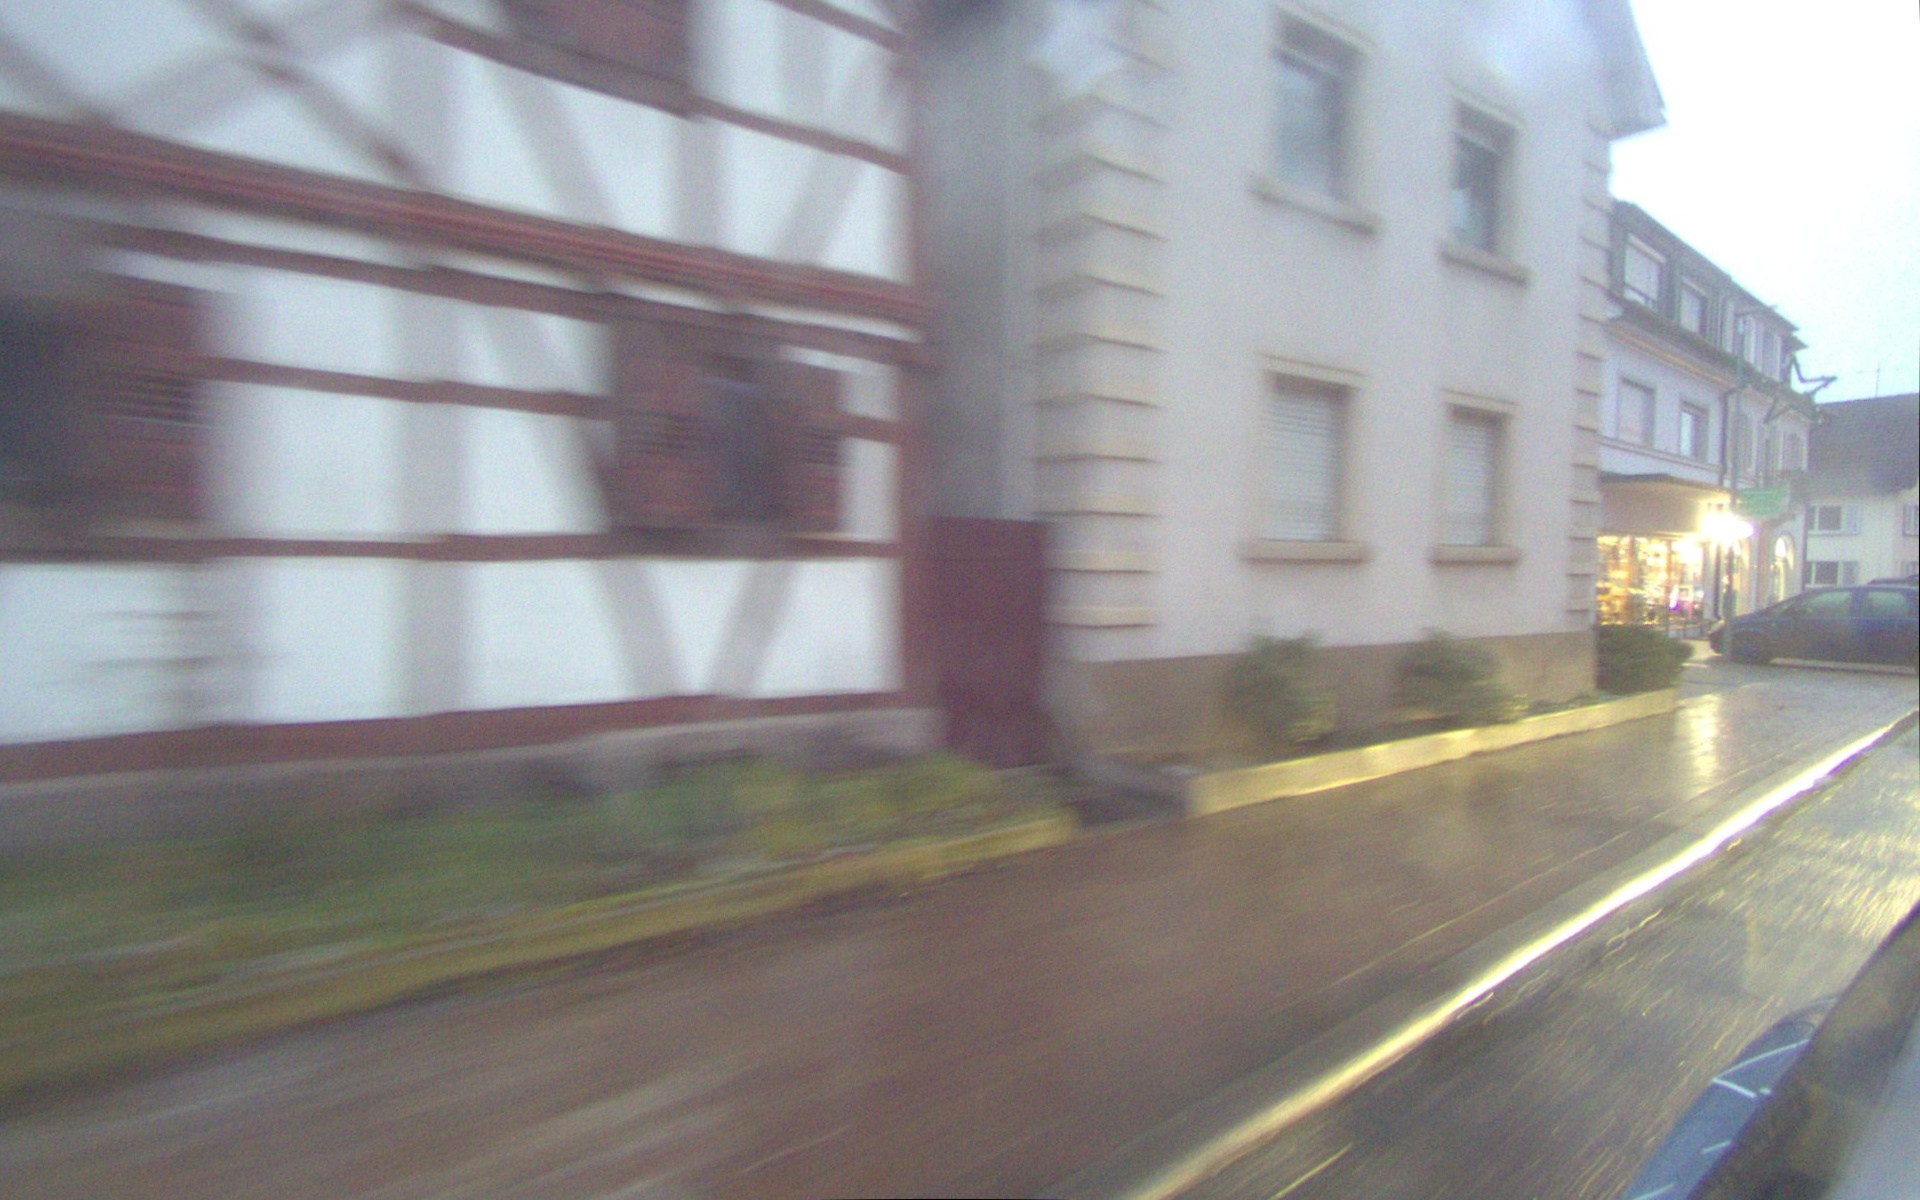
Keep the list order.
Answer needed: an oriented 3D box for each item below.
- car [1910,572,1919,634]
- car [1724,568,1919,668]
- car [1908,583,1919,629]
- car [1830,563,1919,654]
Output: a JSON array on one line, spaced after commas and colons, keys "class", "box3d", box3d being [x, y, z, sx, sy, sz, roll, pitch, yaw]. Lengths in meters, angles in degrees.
[{"class": "car", "box3d": [29.032, 0.181, 27.901, 1.683, 1.753, 3.888, 0, 3, -39]}, {"class": "car", "box3d": [16.853, 0.317, 18.902, 1.585, 1.647, 3.847, 0, 3, -43]}, {"class": "car", "box3d": [30.422, 0.273, 29.490, 1.523, 1.383, 3.888, 0, 3, -39]}, {"class": "car", "box3d": [21.414, 0.221, 21.769, 1.838, 1.900, 3.882, 0, 3, -44]}]
